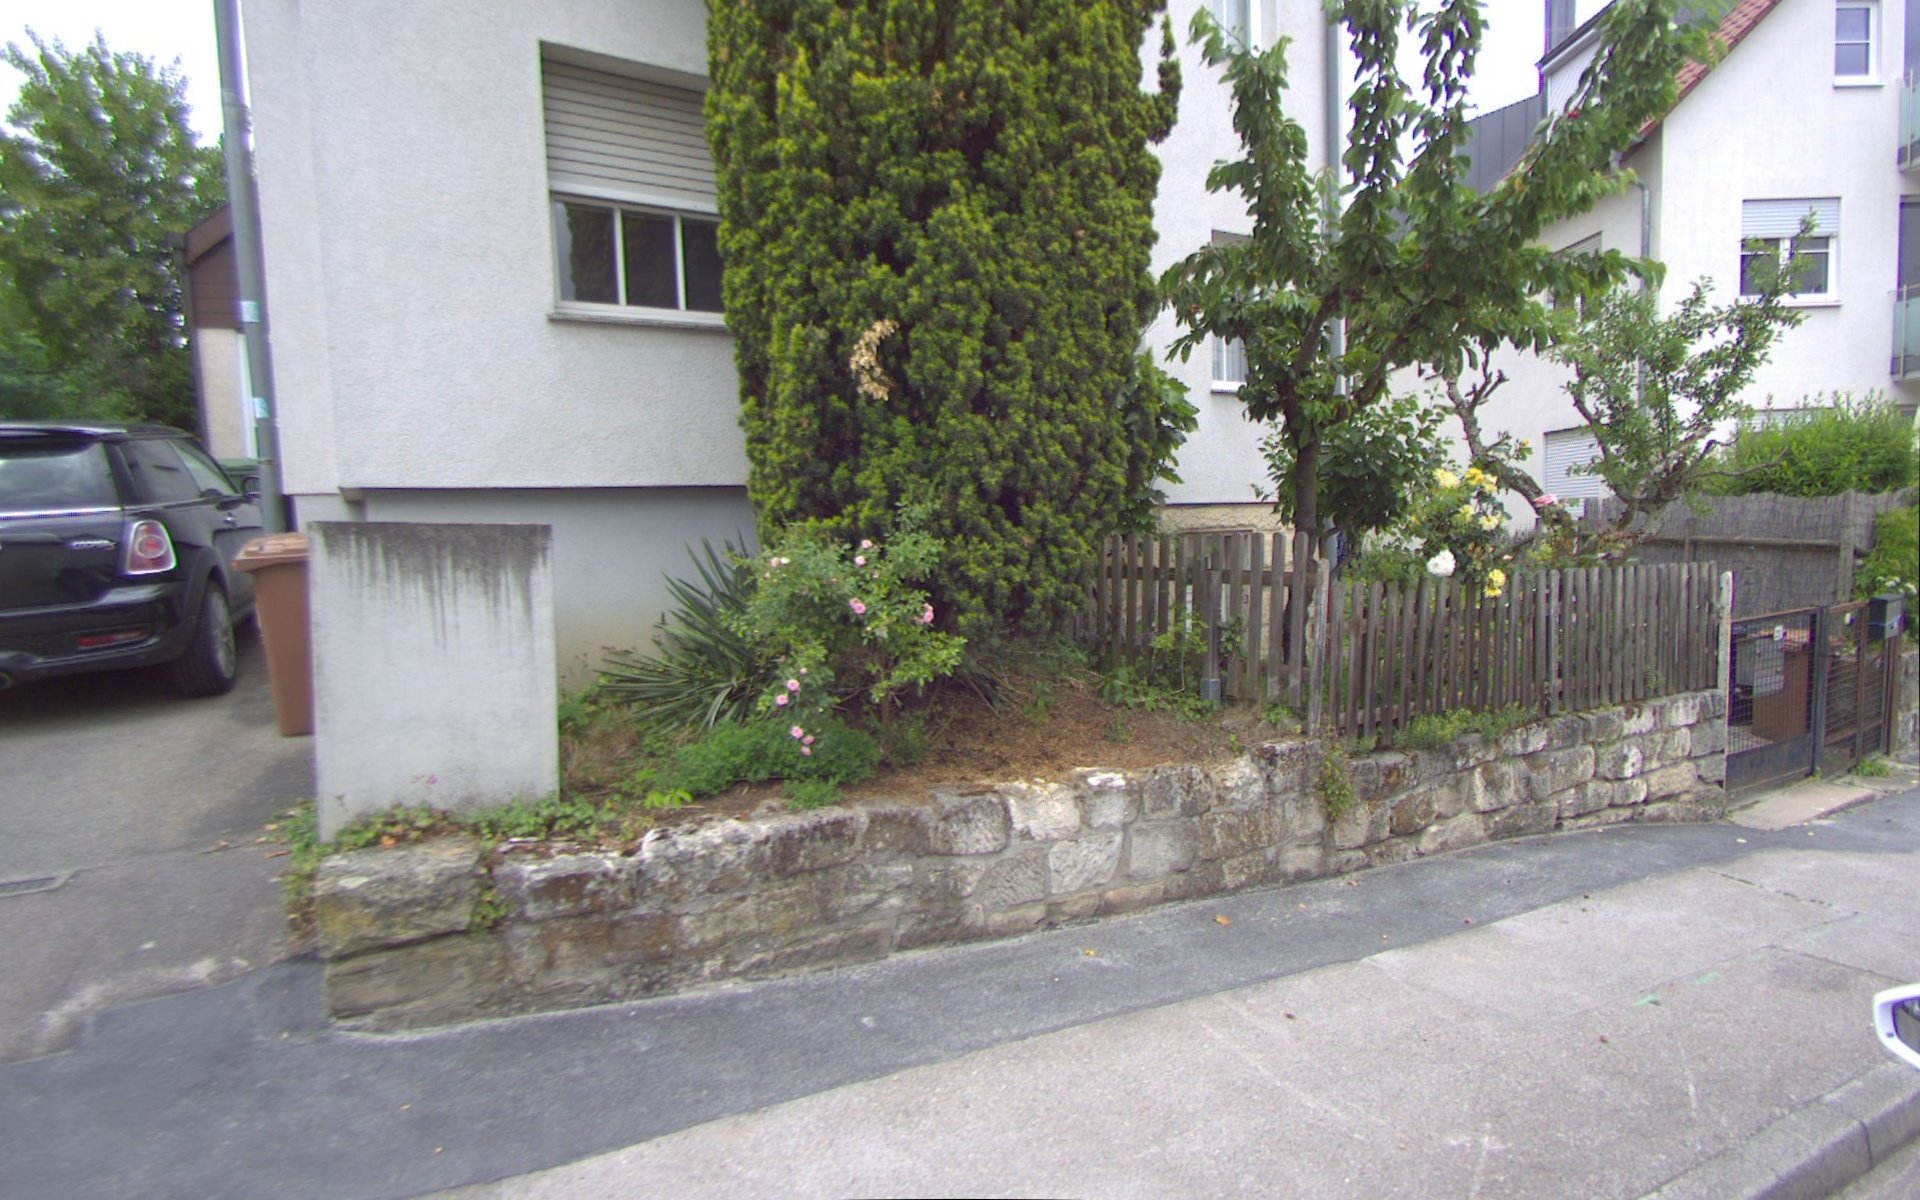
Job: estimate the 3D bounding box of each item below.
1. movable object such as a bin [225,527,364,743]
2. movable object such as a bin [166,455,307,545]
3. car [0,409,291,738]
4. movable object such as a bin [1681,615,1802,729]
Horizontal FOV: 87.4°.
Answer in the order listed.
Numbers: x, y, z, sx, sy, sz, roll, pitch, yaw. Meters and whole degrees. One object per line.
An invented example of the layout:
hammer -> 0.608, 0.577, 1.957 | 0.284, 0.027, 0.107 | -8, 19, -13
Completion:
movable object such as a bin -> -3.177, 0.145, 4.836 | 0.426, 0.915, 0.510 | -6, 13, -28
movable object such as a bin -> -12.141, -1.683, 16.943 | 1.415, 1.419, 1.446 | -2, 6, -15
car -> -5.222, -0.358, 5.956 | 1.604, 1.490, 3.386 | -4, 11, -27
movable object such as a bin -> 7.085, 0.641, 9.132 | 0.591, 0.945, 0.591 | -1, 6, 1
